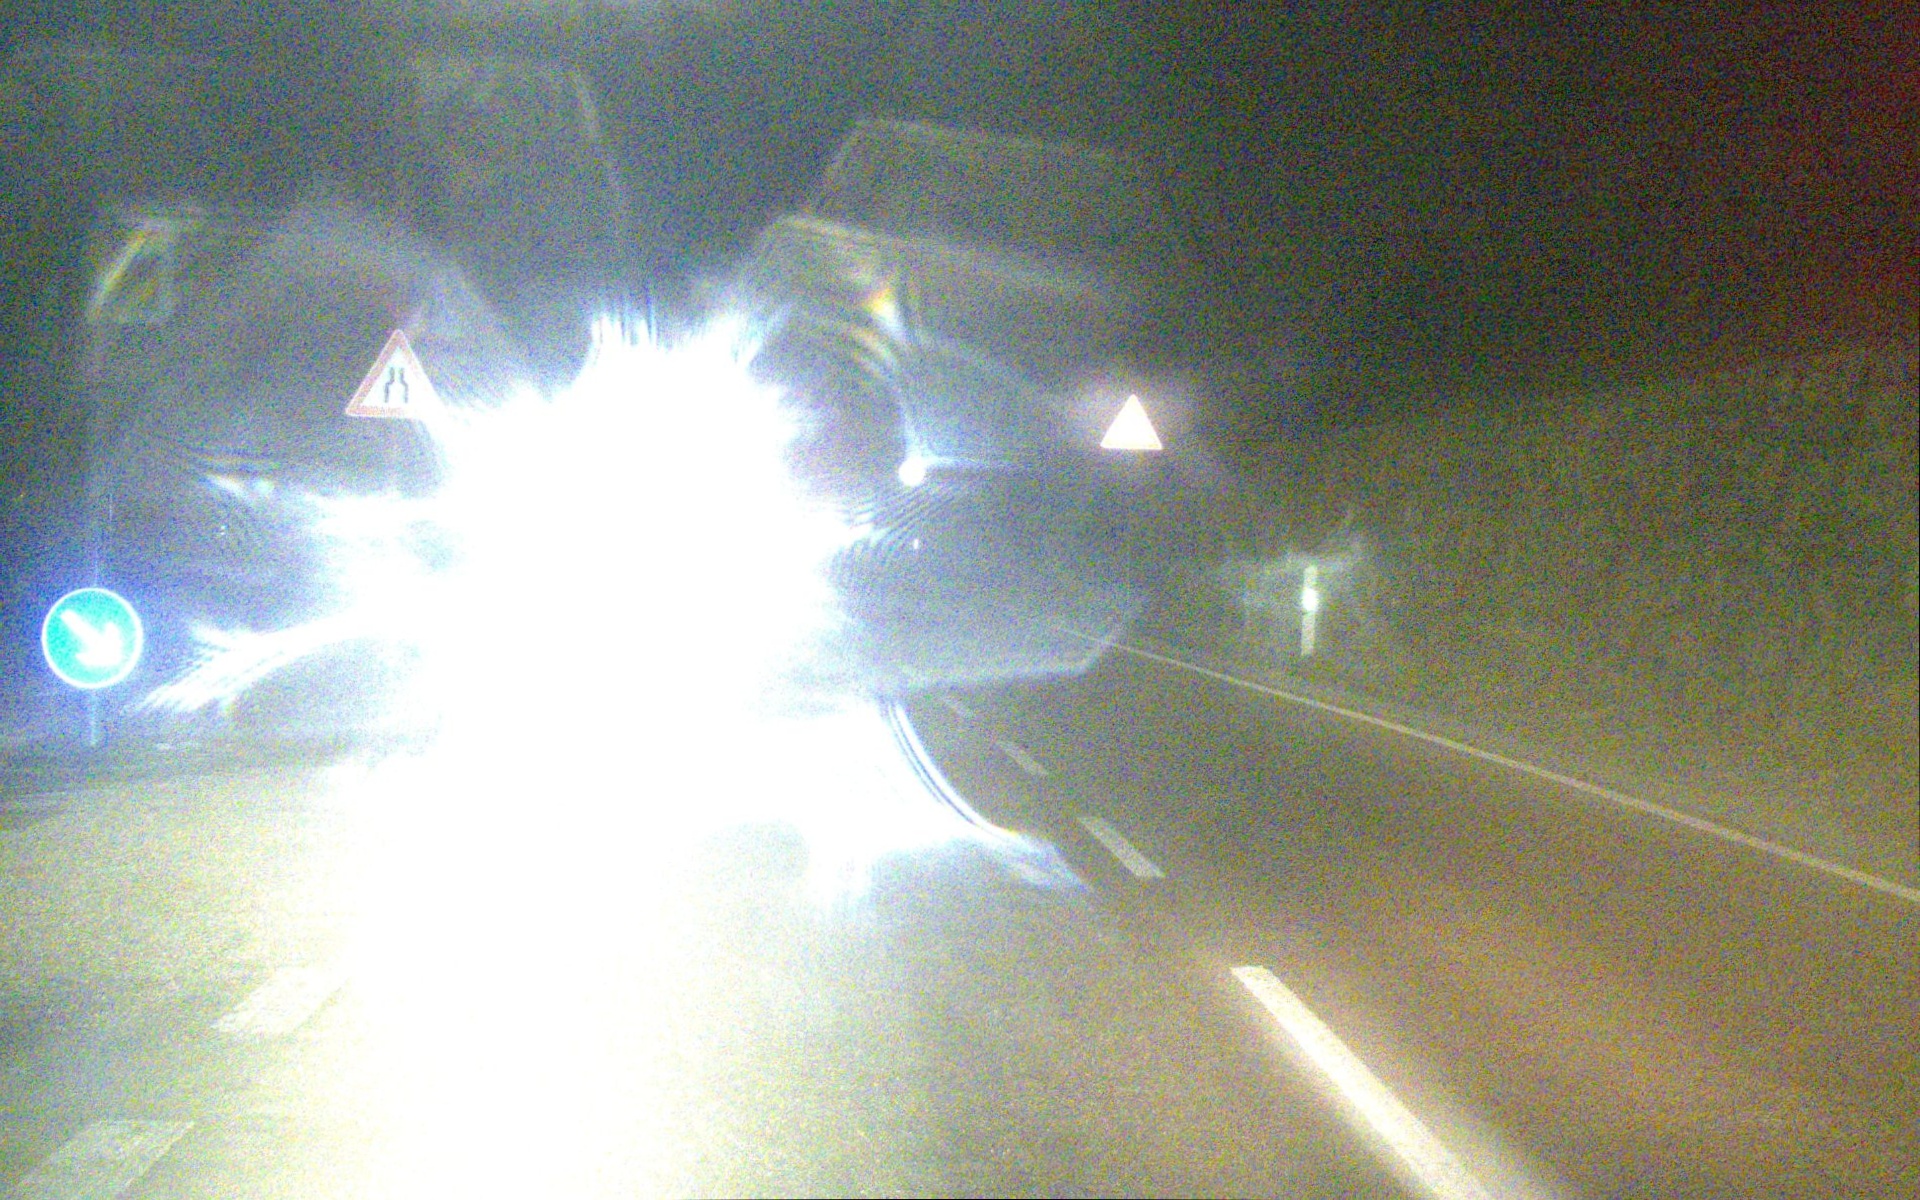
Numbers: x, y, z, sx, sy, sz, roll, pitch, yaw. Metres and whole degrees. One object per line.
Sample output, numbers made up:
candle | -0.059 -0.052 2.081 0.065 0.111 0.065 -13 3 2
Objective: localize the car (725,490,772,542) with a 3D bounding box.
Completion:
car | -8.407 -3.312 136.791 1.791 2.015 4.580 1 1 -3

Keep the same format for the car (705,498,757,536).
car | -11.836 -4.266 177.695 1.994 1.711 3.999 5 0 5
